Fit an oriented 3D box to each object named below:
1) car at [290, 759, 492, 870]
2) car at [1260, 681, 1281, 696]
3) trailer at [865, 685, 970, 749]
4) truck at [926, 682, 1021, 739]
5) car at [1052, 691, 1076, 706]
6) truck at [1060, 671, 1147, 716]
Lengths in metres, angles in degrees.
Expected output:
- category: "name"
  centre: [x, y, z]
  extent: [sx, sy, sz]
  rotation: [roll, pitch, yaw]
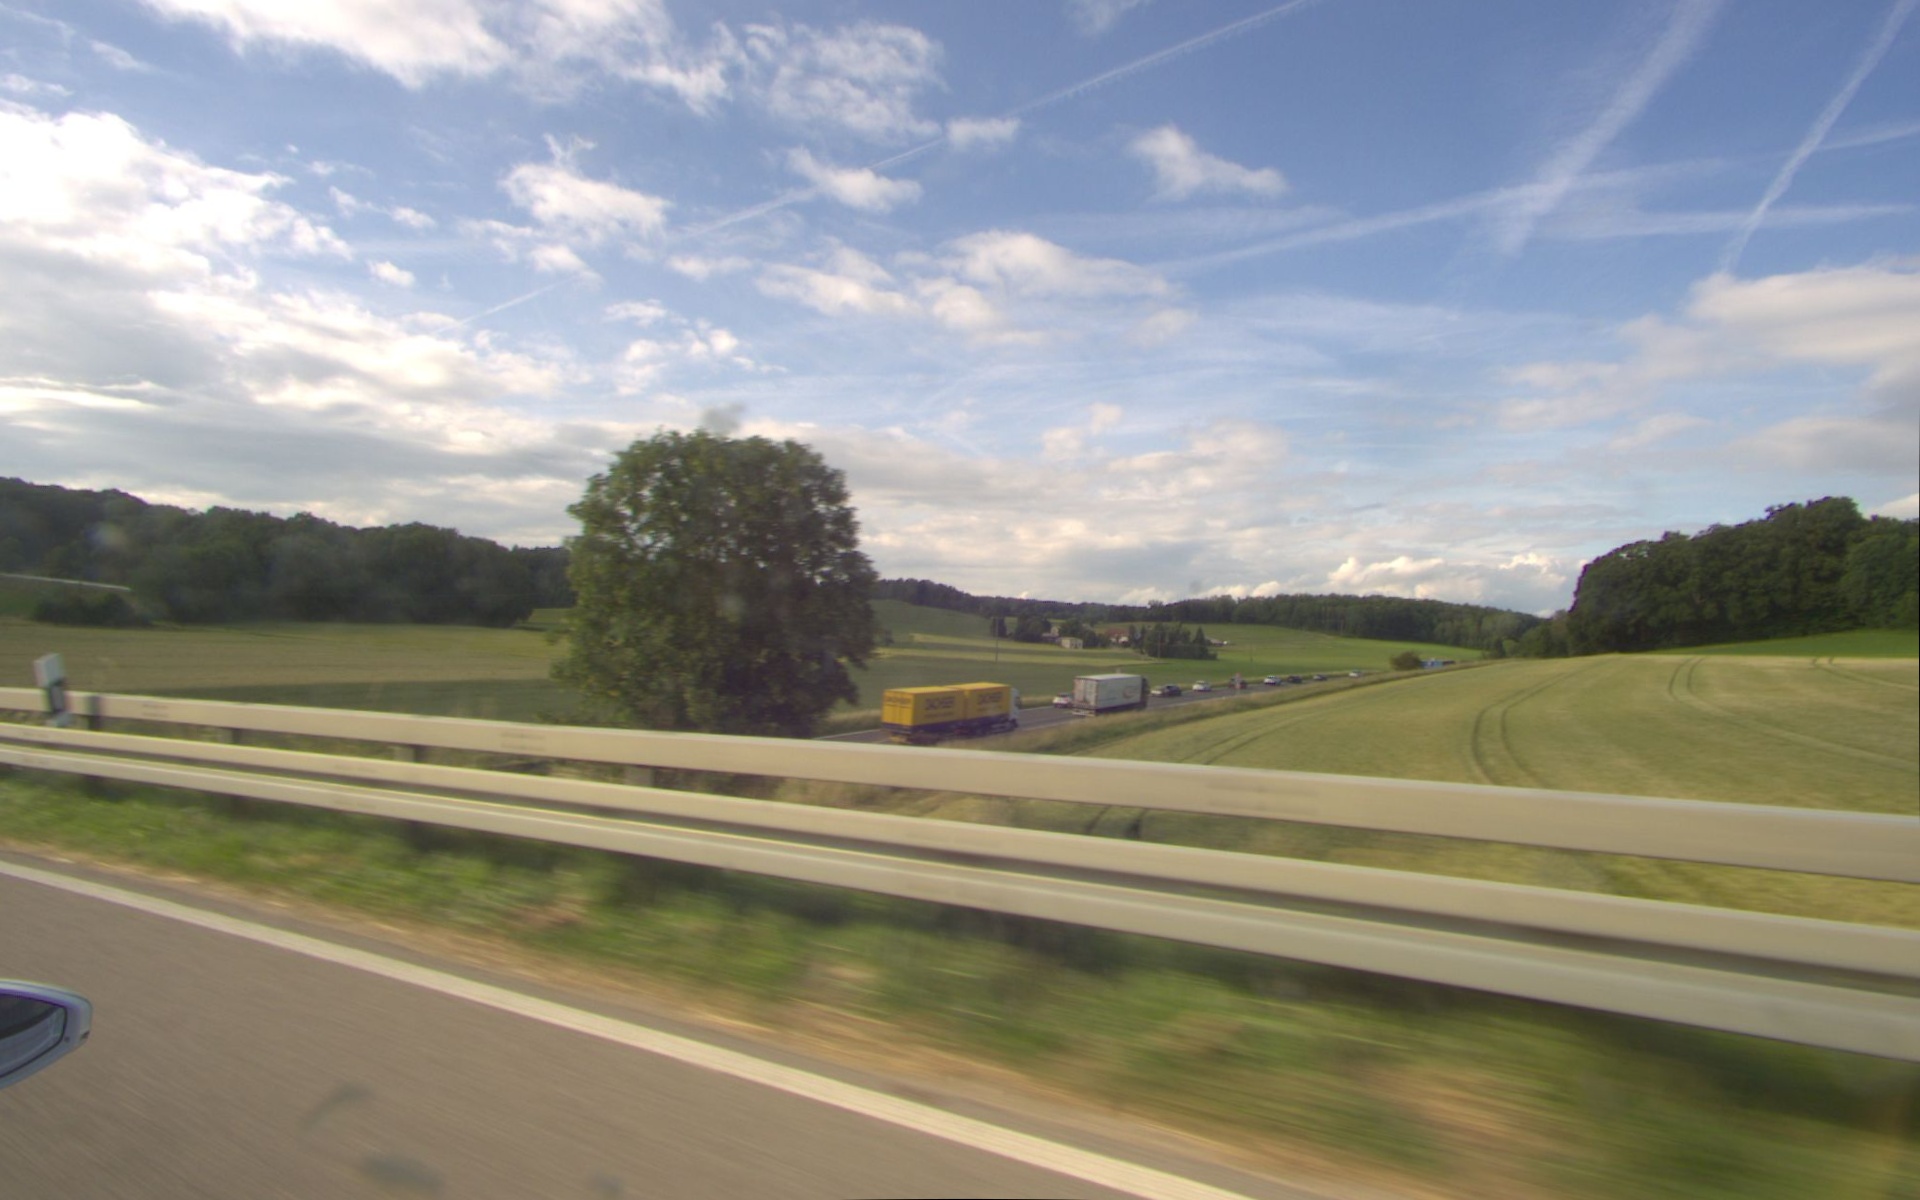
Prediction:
- category: "car"
  centre: [-20.526, 7.636, 36.521]
  extent: [2.333, 2.619, 6.107]
  rotation: [5, 1, 24]
- category: "car"
  centre: [44.756, 12.769, 144.246]
  extent: [1.972, 2.038, 3.983]
  rotation: [-4, -4, 30]
- category: "trailer"
  centre: [-2.981, 8.399, 73.528]
  extent: [3.777, 4.110, 9.101]
  rotation: [-2, -3, 26]
- category: "truck"
  centre: [1.251, 8.878, 81.846]
  extent: [3.778, 4.110, 9.770]
  rotation: [-2, -3, 27]
- category: "car"
  centre: [11.404, 10.812, 109.925]
  extent: [1.582, 1.412, 3.318]
  rotation: [1, -3, 27]
- category: "truck"
  centre: [15.280, 9.702, 105.378]
  extent: [4.020, 4.045, 14.367]
  rotation: [-4, -4, 29]
